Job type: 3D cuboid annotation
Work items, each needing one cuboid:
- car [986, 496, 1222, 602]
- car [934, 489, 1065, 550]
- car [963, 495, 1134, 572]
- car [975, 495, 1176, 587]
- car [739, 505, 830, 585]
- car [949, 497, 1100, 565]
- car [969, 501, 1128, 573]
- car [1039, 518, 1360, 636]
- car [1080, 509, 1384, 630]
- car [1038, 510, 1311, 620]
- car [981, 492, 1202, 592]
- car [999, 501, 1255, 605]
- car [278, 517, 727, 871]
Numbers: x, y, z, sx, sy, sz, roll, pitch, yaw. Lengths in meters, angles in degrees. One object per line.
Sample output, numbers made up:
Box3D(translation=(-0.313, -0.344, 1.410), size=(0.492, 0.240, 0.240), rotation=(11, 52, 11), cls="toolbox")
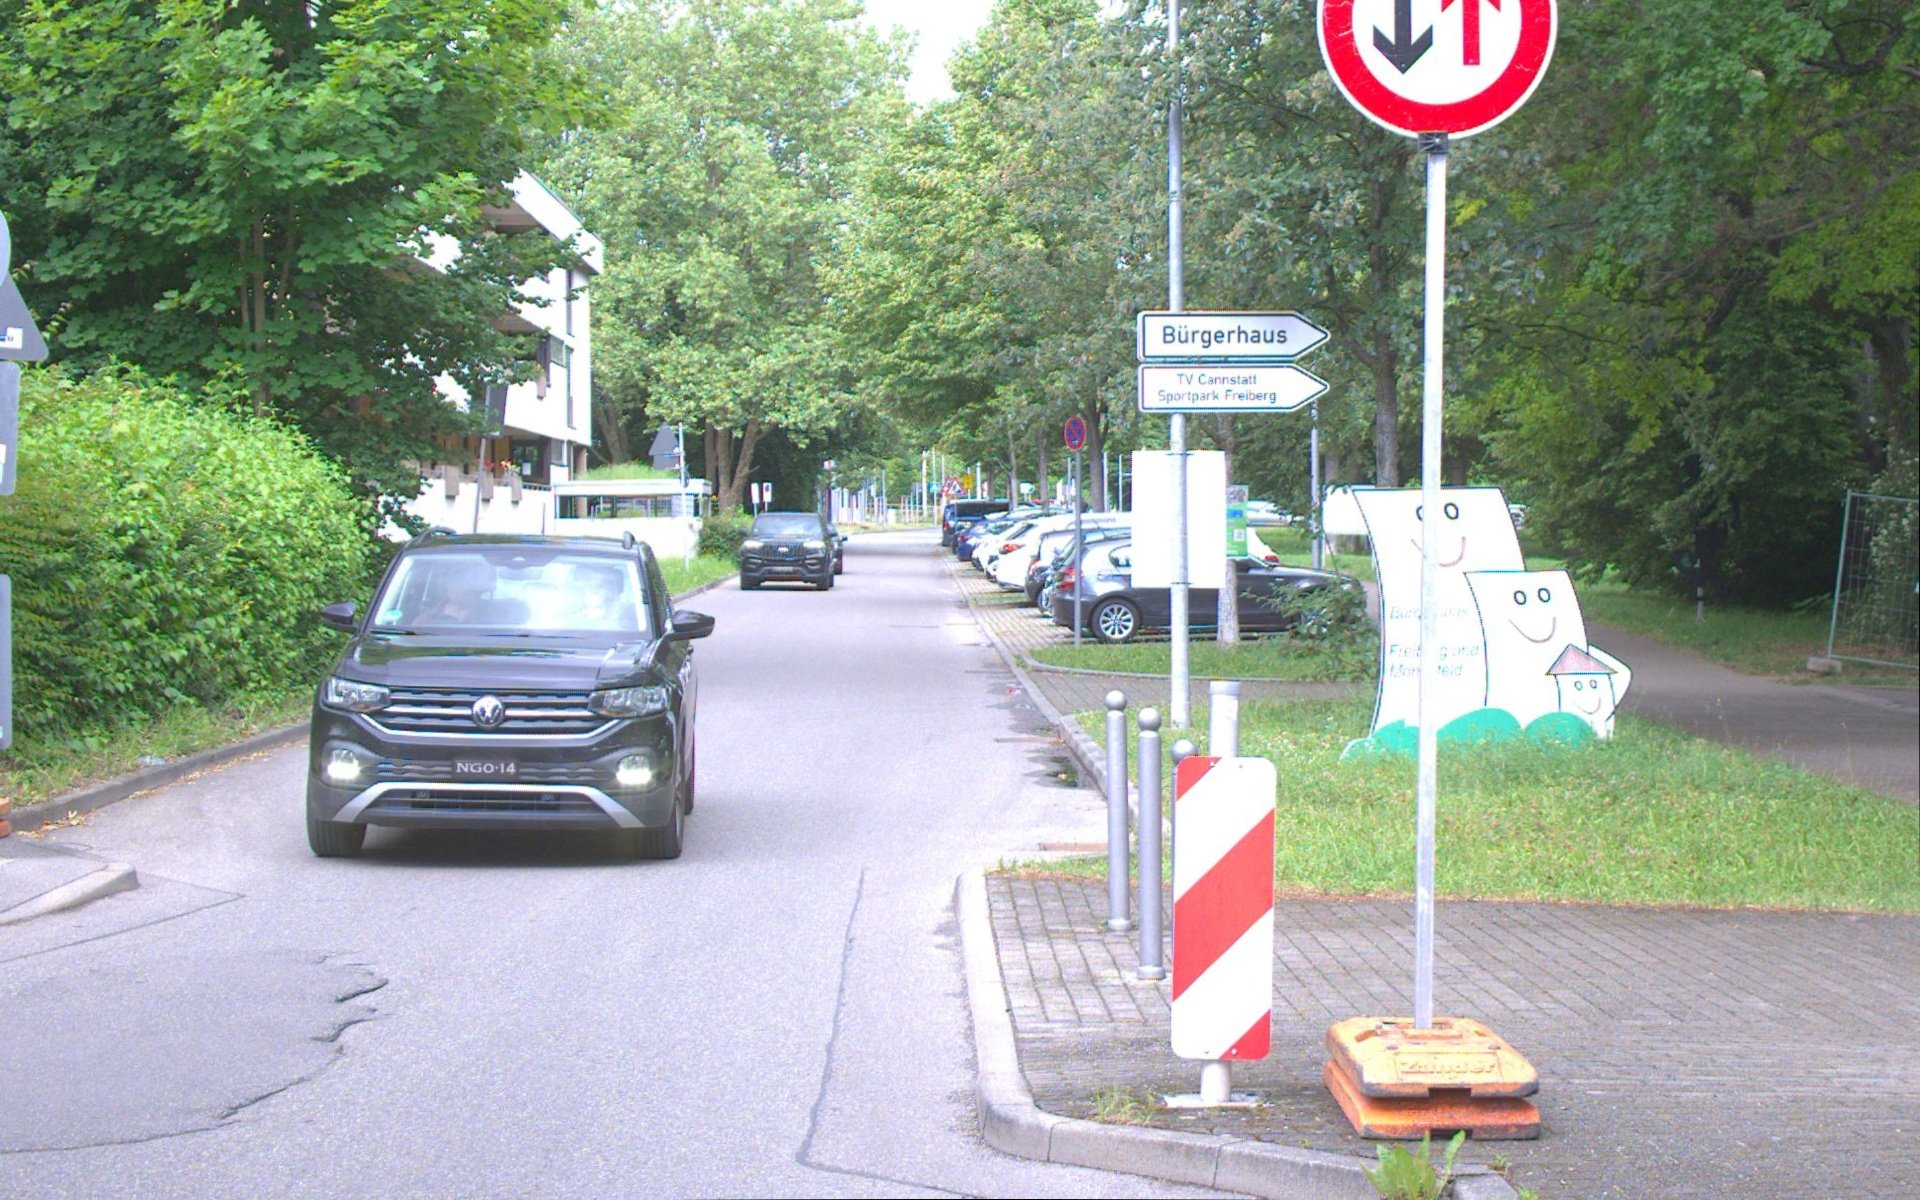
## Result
Box3D(translation=(2.633, -0.953, 63.432), size=(4.062, 1.681, 1.823), rotation=(-4, 1, -4), cls="car")
Box3D(translation=(1.292, -2.658, 113.594), size=(4.062, 1.764, 1.823), rotation=(-4, 1, -4), cls="car")
Box3D(translation=(2.225, -1.687, 87.036), size=(4.062, 1.681, 1.823), rotation=(-4, 1, -4), cls="car")
Box3D(translation=(2.458, -1.274, 73.903), size=(4.062, 1.681, 1.823), rotation=(-4, 1, -4), cls="car")
Box3D(translation=(-3.935, -1.256, 77.793), size=(1.968, 1.741, 4.339), rotation=(0, 1, -2), cls="car")
Box3D(translation=(1.821, -1.969, 97.969), size=(4.062, 1.681, 1.823), rotation=(-4, 1, -4), cls="car")
Box3D(translation=(2.378, -1.708, 92.932), size=(4.062, 1.681, 1.823), rotation=(-4, 1, -4), cls="car")
Box3D(translation=(3.143, -0.295, 45.803), size=(4.063, 1.429, 2.000), rotation=(-2, 0, -1), cls="car")
Box3D(translation=(3.790, -0.413, 48.436), size=(4.063, 1.563, 1.822), rotation=(-2, 0, -1), cls="car")
Box3D(translation=(3.310, -0.559, 53.504), size=(4.063, 1.563, 1.823), rotation=(-2, 1, -1), cls="car")
Box3D(translation=(2.551, -1.149, 67.520), size=(4.062, 1.681, 1.823), rotation=(-4, 1, -4), cls="car")
Box3D(translation=(2.798, -0.803, 58.177), size=(4.062, 1.483, 1.823), rotation=(-4, 1, -4), cls="car")
Box3D(translation=(-2.199, 0.377, 17.579), size=(1.803, 1.586, 4.296), rotation=(0, 1, -1), cls="car")
